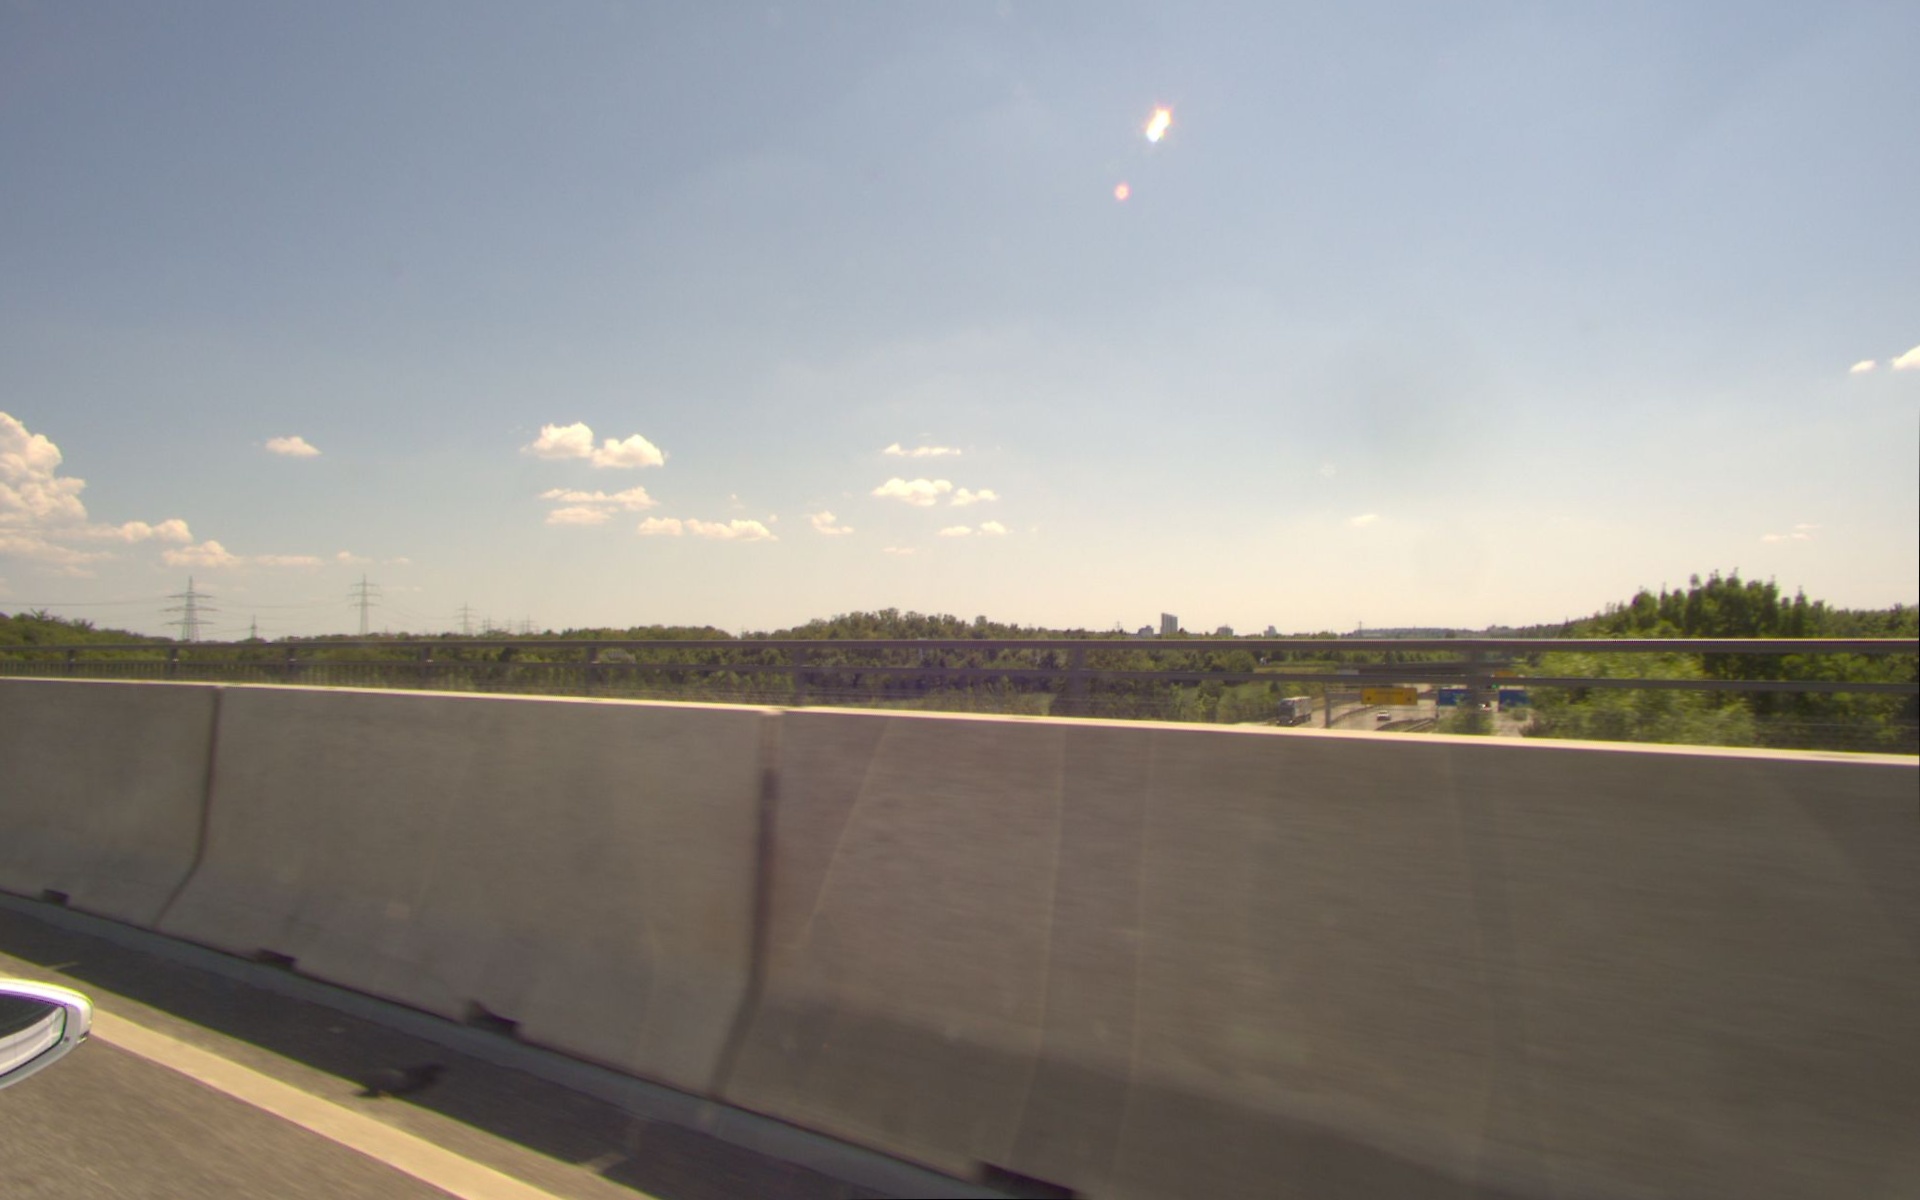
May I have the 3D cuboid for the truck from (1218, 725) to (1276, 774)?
[{"bbox_3d":[26.999,13.887,93.930,2.737,4.087,9.319,-2,-6,32],"label":"truck"}]

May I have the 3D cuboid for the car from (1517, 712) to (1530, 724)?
[{"bbox_3d":[91.854,19.168,163.196,1.655,1.896,3.985,-1,-6,32],"label":"car"}]

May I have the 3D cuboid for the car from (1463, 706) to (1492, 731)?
[{"bbox_3d":[69.133,15.766,133.696,2.881,3.115,7.351,-1,-6,31],"label":"car"}]
